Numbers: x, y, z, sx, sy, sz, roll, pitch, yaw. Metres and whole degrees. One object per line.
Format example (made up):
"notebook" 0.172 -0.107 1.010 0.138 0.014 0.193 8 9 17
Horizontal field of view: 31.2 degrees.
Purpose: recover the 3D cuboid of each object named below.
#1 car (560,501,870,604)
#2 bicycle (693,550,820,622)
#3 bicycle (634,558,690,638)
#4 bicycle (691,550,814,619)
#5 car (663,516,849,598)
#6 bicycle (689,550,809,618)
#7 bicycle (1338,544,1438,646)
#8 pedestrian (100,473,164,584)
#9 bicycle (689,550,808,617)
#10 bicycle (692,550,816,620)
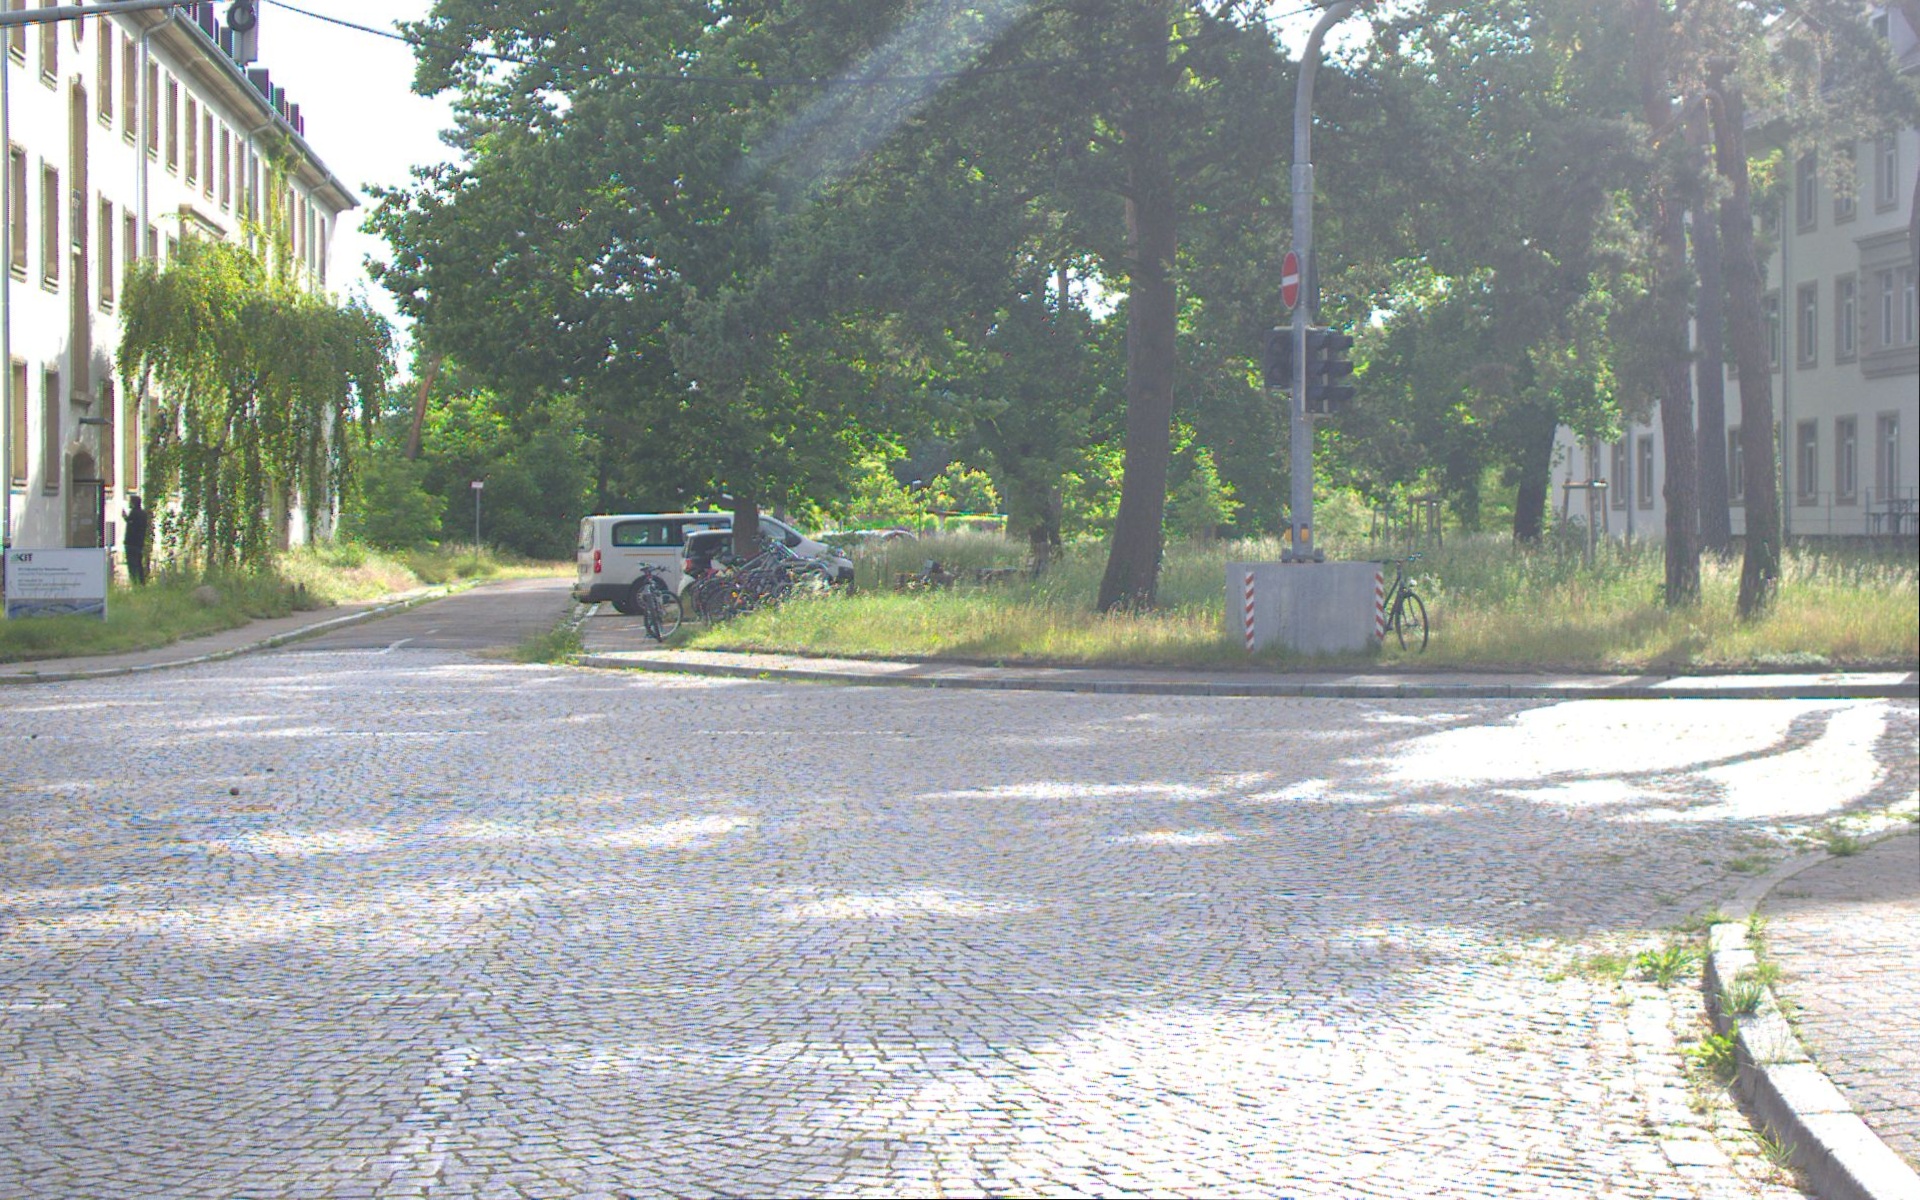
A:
"car" -4.673 -0.902 65.477 5.499 1.909 2.255 0 1 -19
"bicycle" -2.942 -0.210 49.637 1.792 0.995 0.644 -1 2 -6
"bicycle" -3.988 -0.040 45.952 0.728 0.995 1.799 -1 2 -5
"bicycle" -3.102 -0.235 51.373 1.792 0.995 0.644 -1 2 -6
"car" -3.687 -0.768 61.982 3.031 1.460 1.720 0 0 -17
"bicycle" -3.204 -0.246 52.146 1.792 0.995 0.644 -1 2 -6
"bicycle" 4.473 -0.068 36.021 0.562 0.995 1.753 -1 2 -9
"pedestrian" -14.700 -1.271 61.052 0.985 1.956 0.933 0 1 -5
"bicycle" -3.264 -0.258 52.882 1.792 0.995 0.644 -1 2 -6
"bicycle" -3.035 -0.224 50.654 1.792 0.995 0.644 -1 2 -6
